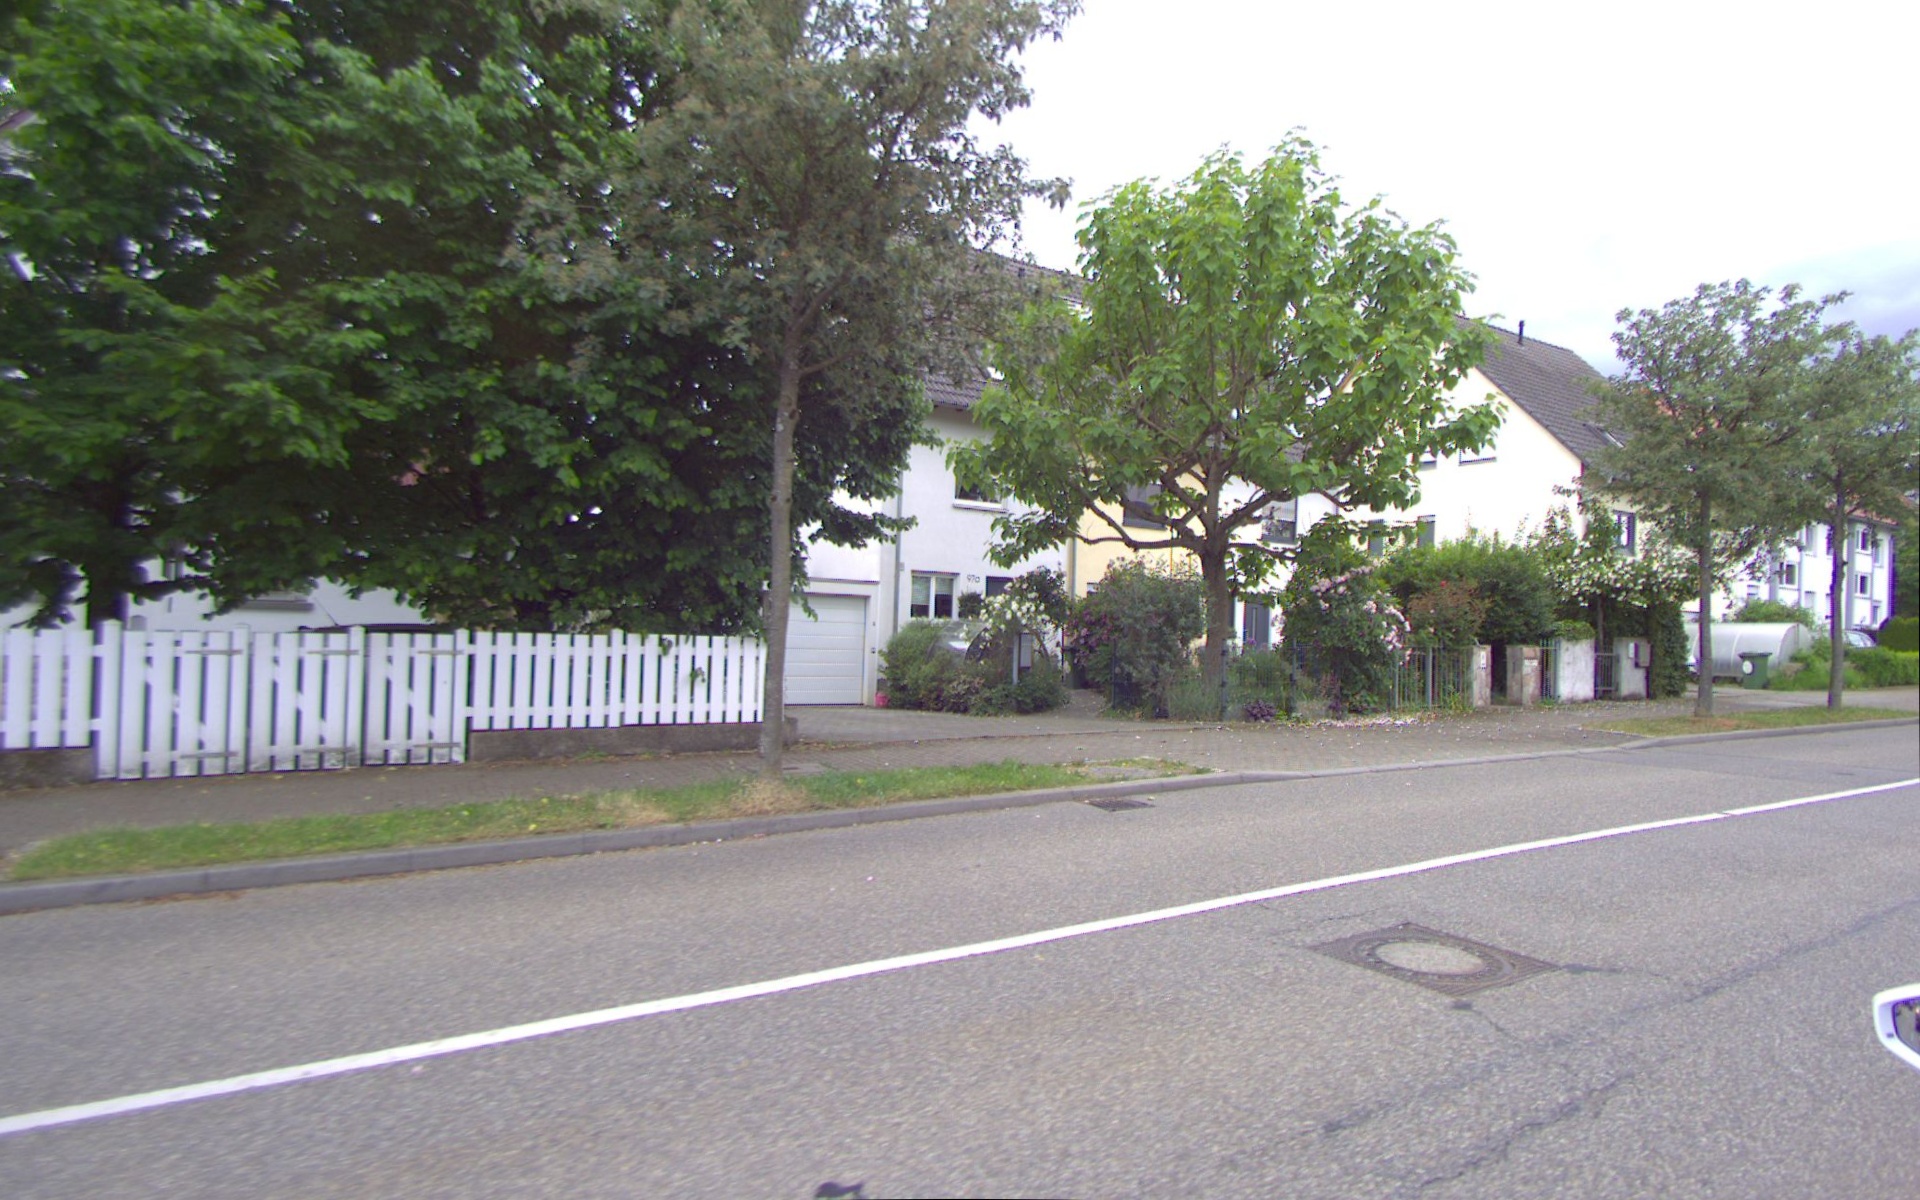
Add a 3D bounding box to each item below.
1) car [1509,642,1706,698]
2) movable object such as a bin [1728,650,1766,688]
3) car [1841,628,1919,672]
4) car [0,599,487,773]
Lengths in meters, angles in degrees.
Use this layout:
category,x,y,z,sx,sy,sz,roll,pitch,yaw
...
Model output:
category,x,y,z,sx,sy,sz,roll,pitch,yaw
car,17.002,1.795,26.555,1.739,1.303,4.038,2,-2,-36
movable object such as a bin,19.496,1.707,24.896,0.535,0.913,0.579,1,-1,13
car,32.259,1.723,33.635,1.565,1.355,3.954,4,-1,-40
car,-7.767,0.849,10.894,4.571,1.585,1.795,1,-3,-35
